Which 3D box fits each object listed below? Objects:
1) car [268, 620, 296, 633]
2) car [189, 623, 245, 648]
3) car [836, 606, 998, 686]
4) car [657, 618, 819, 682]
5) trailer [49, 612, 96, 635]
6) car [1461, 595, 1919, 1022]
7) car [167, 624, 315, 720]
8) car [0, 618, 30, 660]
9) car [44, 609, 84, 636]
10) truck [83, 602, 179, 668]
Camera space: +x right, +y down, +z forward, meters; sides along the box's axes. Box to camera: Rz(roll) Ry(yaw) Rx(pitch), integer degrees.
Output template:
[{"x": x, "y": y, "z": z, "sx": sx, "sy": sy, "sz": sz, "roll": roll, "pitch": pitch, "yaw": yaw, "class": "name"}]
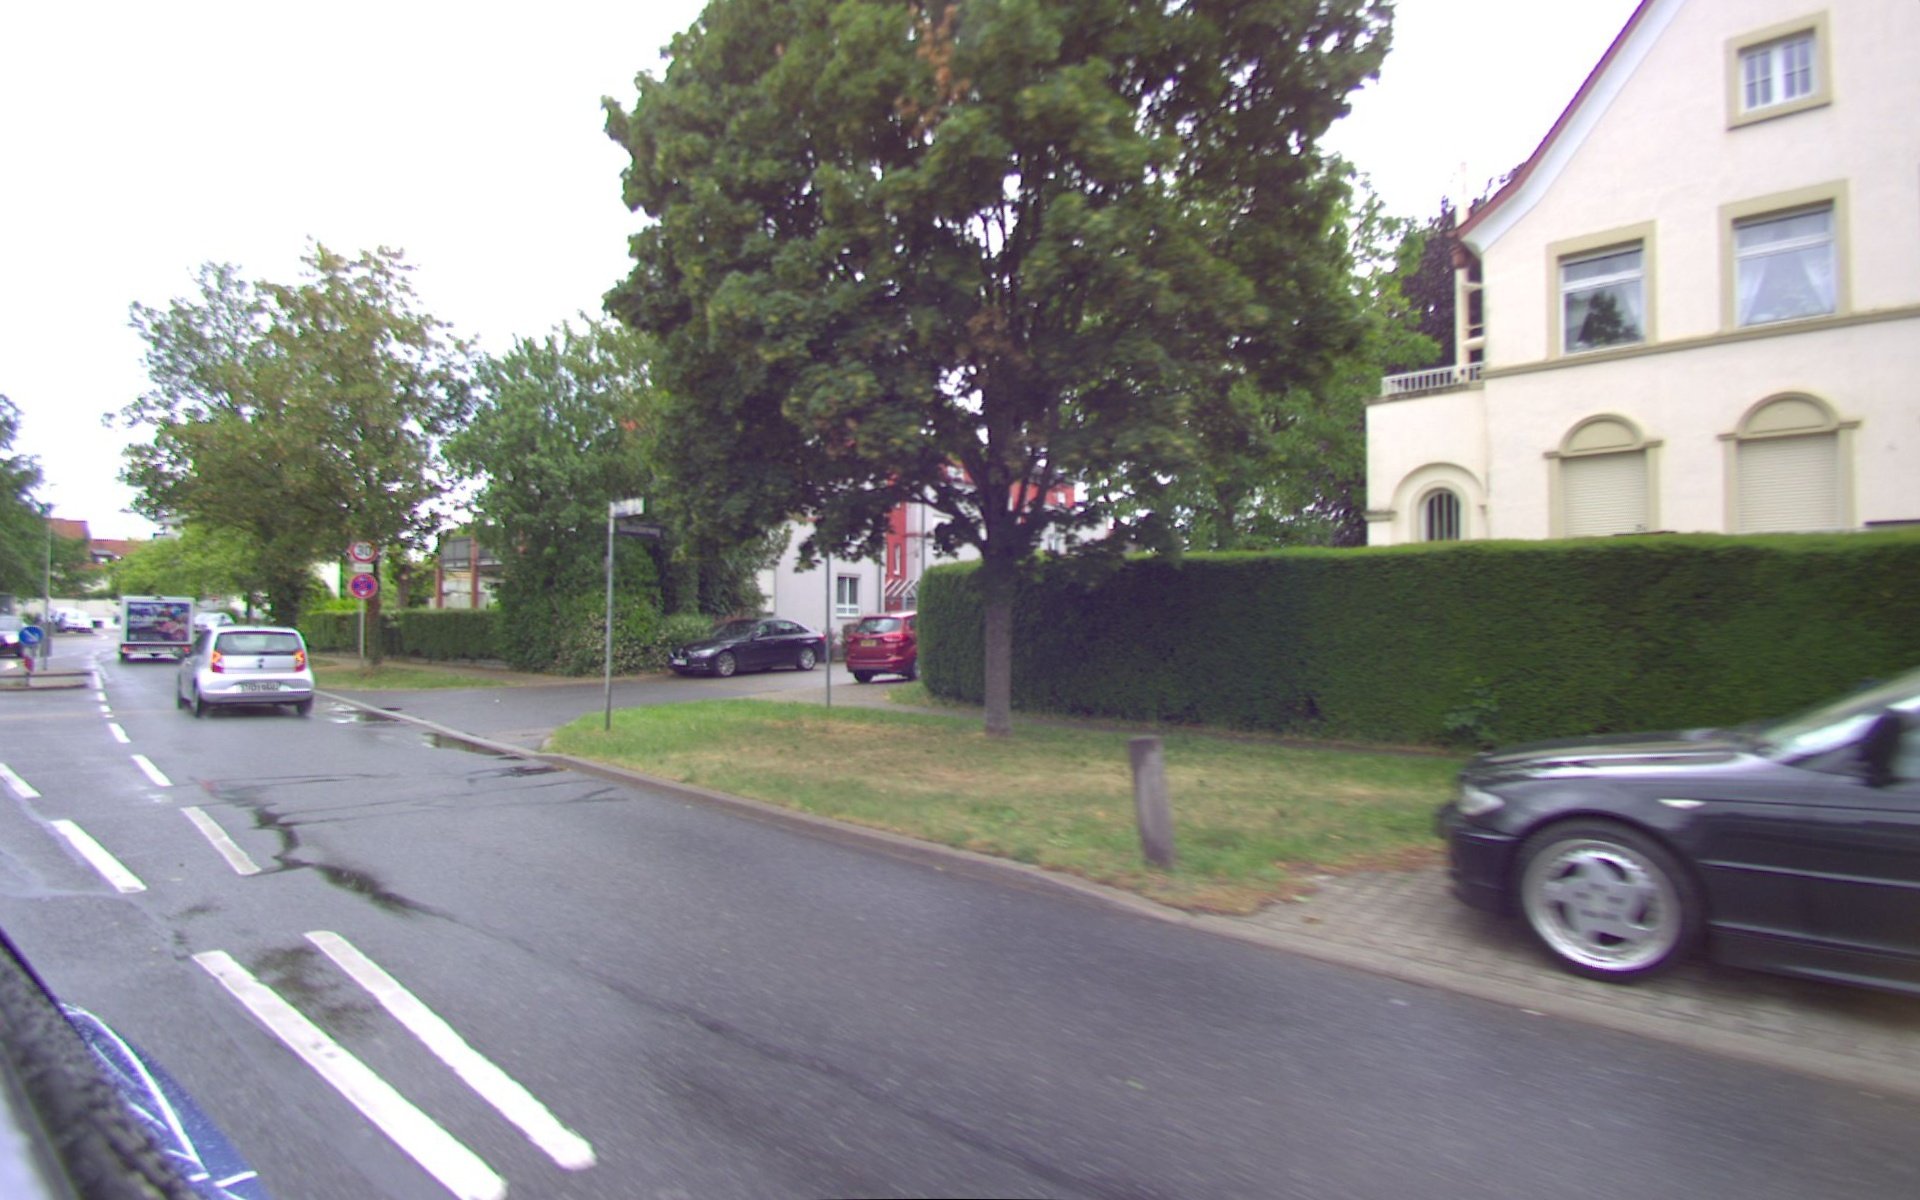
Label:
[{"x": -79.355, "y": 3.133, "z": 118.405, "sx": 3.765, "sy": 1.492, "sz": 1.723, "roll": 0, "pitch": -2, "yaw": 39, "class": "car"}, {"x": -50.778, "y": 2.409, "z": 69.267, "sx": 1.810, "sy": 1.562, "sz": 4.012, "roll": 0, "pitch": -1, "yaw": -16, "class": "car"}, {"x": -0.910, "y": 1.017, "z": 23.441, "sx": 1.689, "sy": 1.664, "sz": 3.983, "roll": -4, "pitch": -2, "yaw": 33, "class": "car"}, {"x": -5.640, "y": 1.224, "z": 26.118, "sx": 1.690, "sy": 1.485, "sz": 3.978, "roll": 0, "pitch": -1, "yaw": 36, "class": "car"}, {"x": -62.544, "y": 1.667, "z": 71.324, "sx": 4.425, "sy": 1.554, "sz": 1.972, "roll": -1, "pitch": -2, "yaw": 42, "class": "trailer"}, {"x": 4.129, "y": 0.700, "z": 3.699, "sx": 3.823, "sy": 1.419, "sz": 1.705, "roll": -2, "pitch": -2, "yaw": 41, "class": "car"}, {"x": -12.411, "y": 1.144, "z": 17.398, "sx": 1.575, "sy": 1.475, "sz": 3.455, "roll": 1, "pitch": -2, "yaw": -44, "class": "car"}, {"x": -34.873, "y": 1.394, "z": 36.535, "sx": 1.813, "sy": 1.460, "sz": 4.006, "roll": 1, "pitch": -1, "yaw": -41, "class": "car"}, {"x": -66.873, "y": 1.663, "z": 75.534, "sx": 1.970, "sy": 1.895, "sz": 4.215, "roll": 1, "pitch": -1, "yaw": -45, "class": "car"}, {"x": -30.350, "y": 1.259, "z": 36.944, "sx": 2.191, "sy": 2.220, "sz": 6.469, "roll": 1, "pitch": -2, "yaw": -44, "class": "truck"}]
